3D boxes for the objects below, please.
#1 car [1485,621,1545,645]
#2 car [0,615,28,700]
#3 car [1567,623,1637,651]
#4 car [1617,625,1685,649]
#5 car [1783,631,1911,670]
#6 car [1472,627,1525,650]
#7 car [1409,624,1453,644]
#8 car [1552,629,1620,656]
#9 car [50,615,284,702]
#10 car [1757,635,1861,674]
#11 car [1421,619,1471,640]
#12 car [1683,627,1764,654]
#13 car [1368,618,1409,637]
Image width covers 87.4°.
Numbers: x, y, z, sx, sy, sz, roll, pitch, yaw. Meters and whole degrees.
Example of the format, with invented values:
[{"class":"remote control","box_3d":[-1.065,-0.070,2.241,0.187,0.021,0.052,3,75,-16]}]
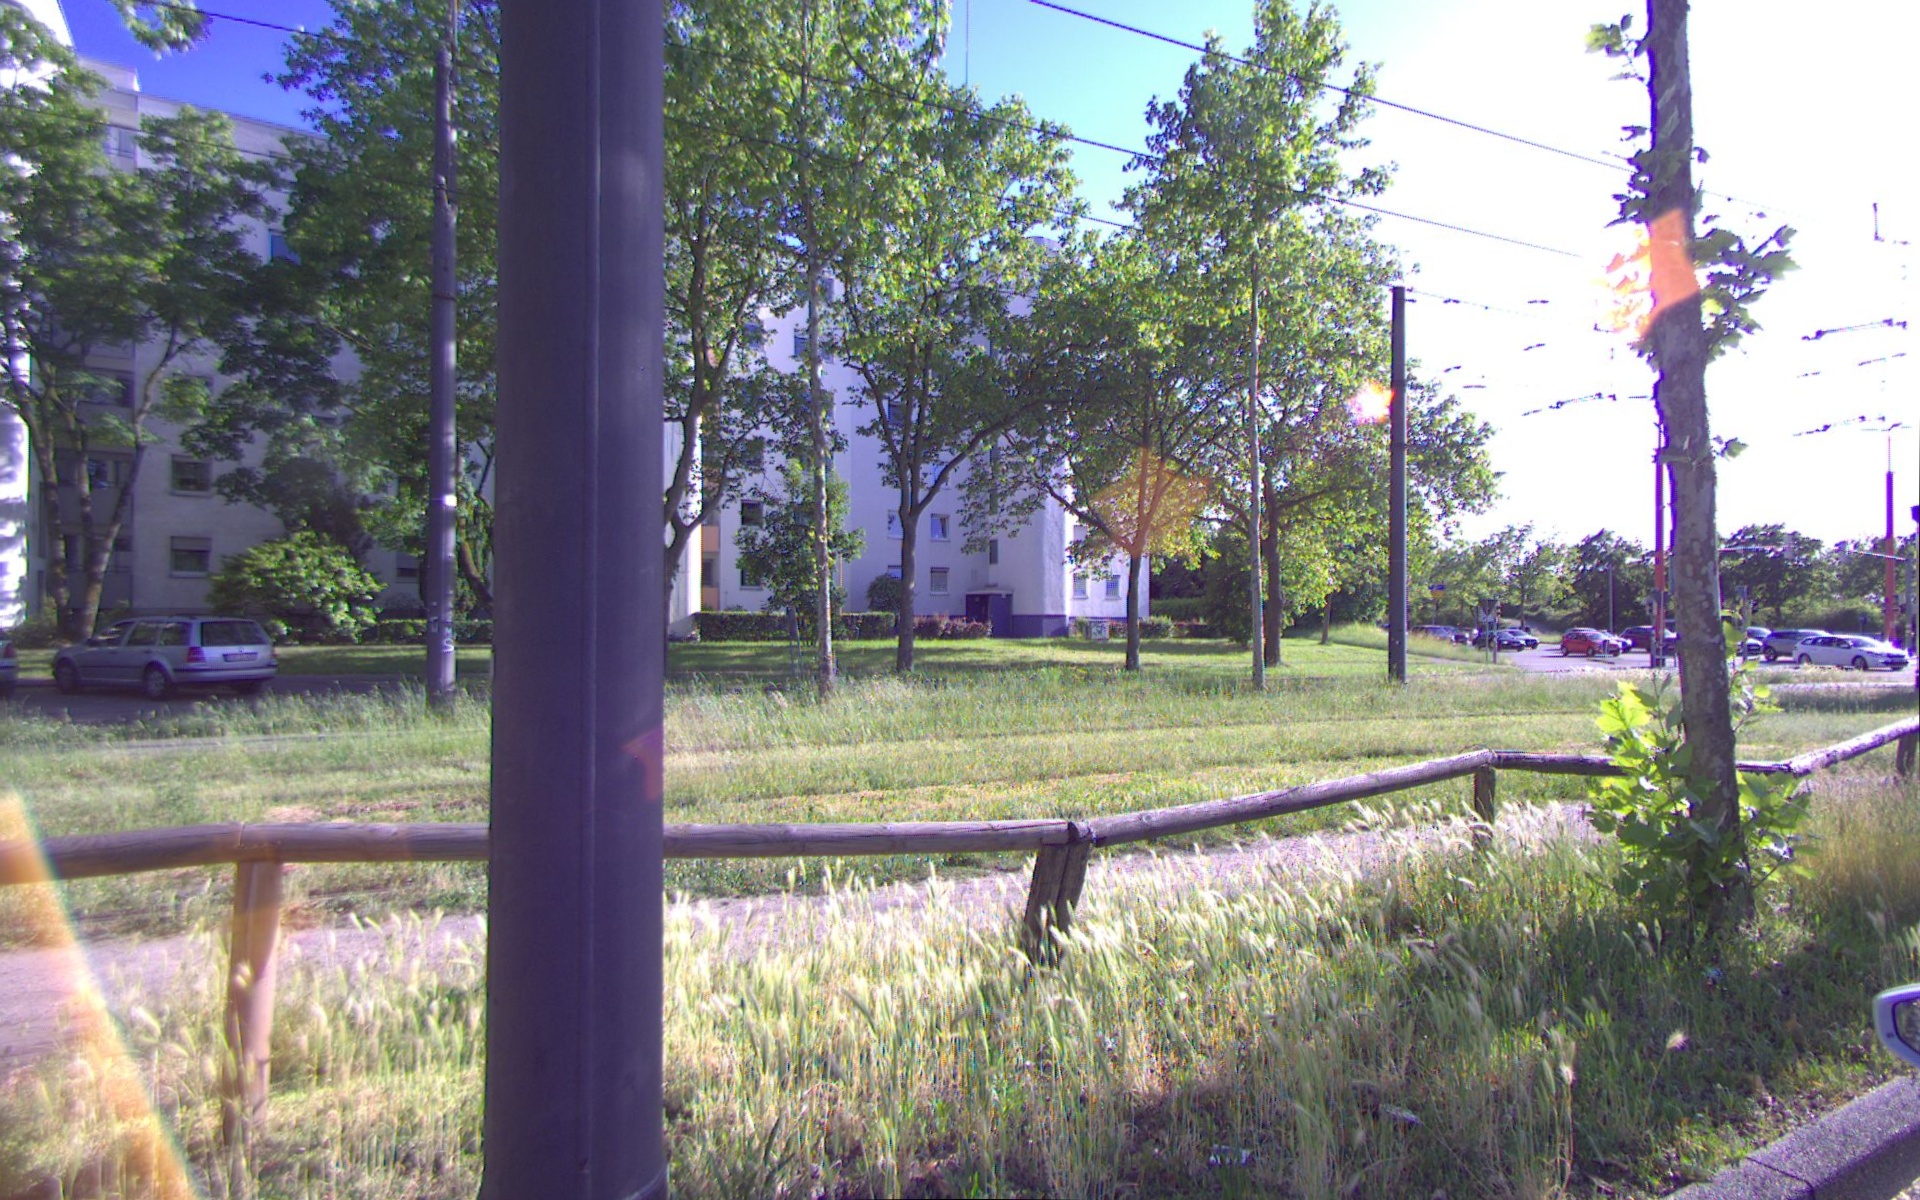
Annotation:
[{"class":"car","box_3d":[42.415,2.484,76.832,1.723,1.669,4.640,1,-1,-5]},{"class":"car","box_3d":[-17.987,0.951,17.149,3.567,1.421,1.581,1,0,20]},{"class":"car","box_3d":[42.567,2.432,66.729,1.721,1.669,4.644,1,-1,1]},{"class":"car","box_3d":[45.398,2.430,66.075,1.513,1.434,4.154,1,-1,-3]},{"class":"car","box_3d":[39.214,2.185,44.569,1.624,1.540,4.638,1,-1,1]},{"class":"car","box_3d":[38.896,2.779,72.622,1.624,1.540,4.200,1,-1,1]},{"class":"car","box_3d":[38.518,2.782,82.243,1.624,1.540,4.200,1,-1,1]},{"class":"car","box_3d":[38.522,2.587,61.911,1.624,1.540,4.200,1,-1,1]},{"class":"car","box_3d":[-14.537,1.014,18.423,3.830,1.421,1.581,1,0,20]},{"class":"car","box_3d":[42.301,2.669,50.190,1.623,1.714,4.343,1,-1,2]},{"class":"car","box_3d":[41.852,2.523,86.642,1.723,1.669,4.640,1,-1,-5]},{"class":"car","box_3d":[45.573,2.395,60.056,1.513,1.434,4.154,1,-1,-3]},{"class":"car","box_3d":[41.501,2.640,97.332,1.723,1.669,4.640,1,-1,-5]}]
